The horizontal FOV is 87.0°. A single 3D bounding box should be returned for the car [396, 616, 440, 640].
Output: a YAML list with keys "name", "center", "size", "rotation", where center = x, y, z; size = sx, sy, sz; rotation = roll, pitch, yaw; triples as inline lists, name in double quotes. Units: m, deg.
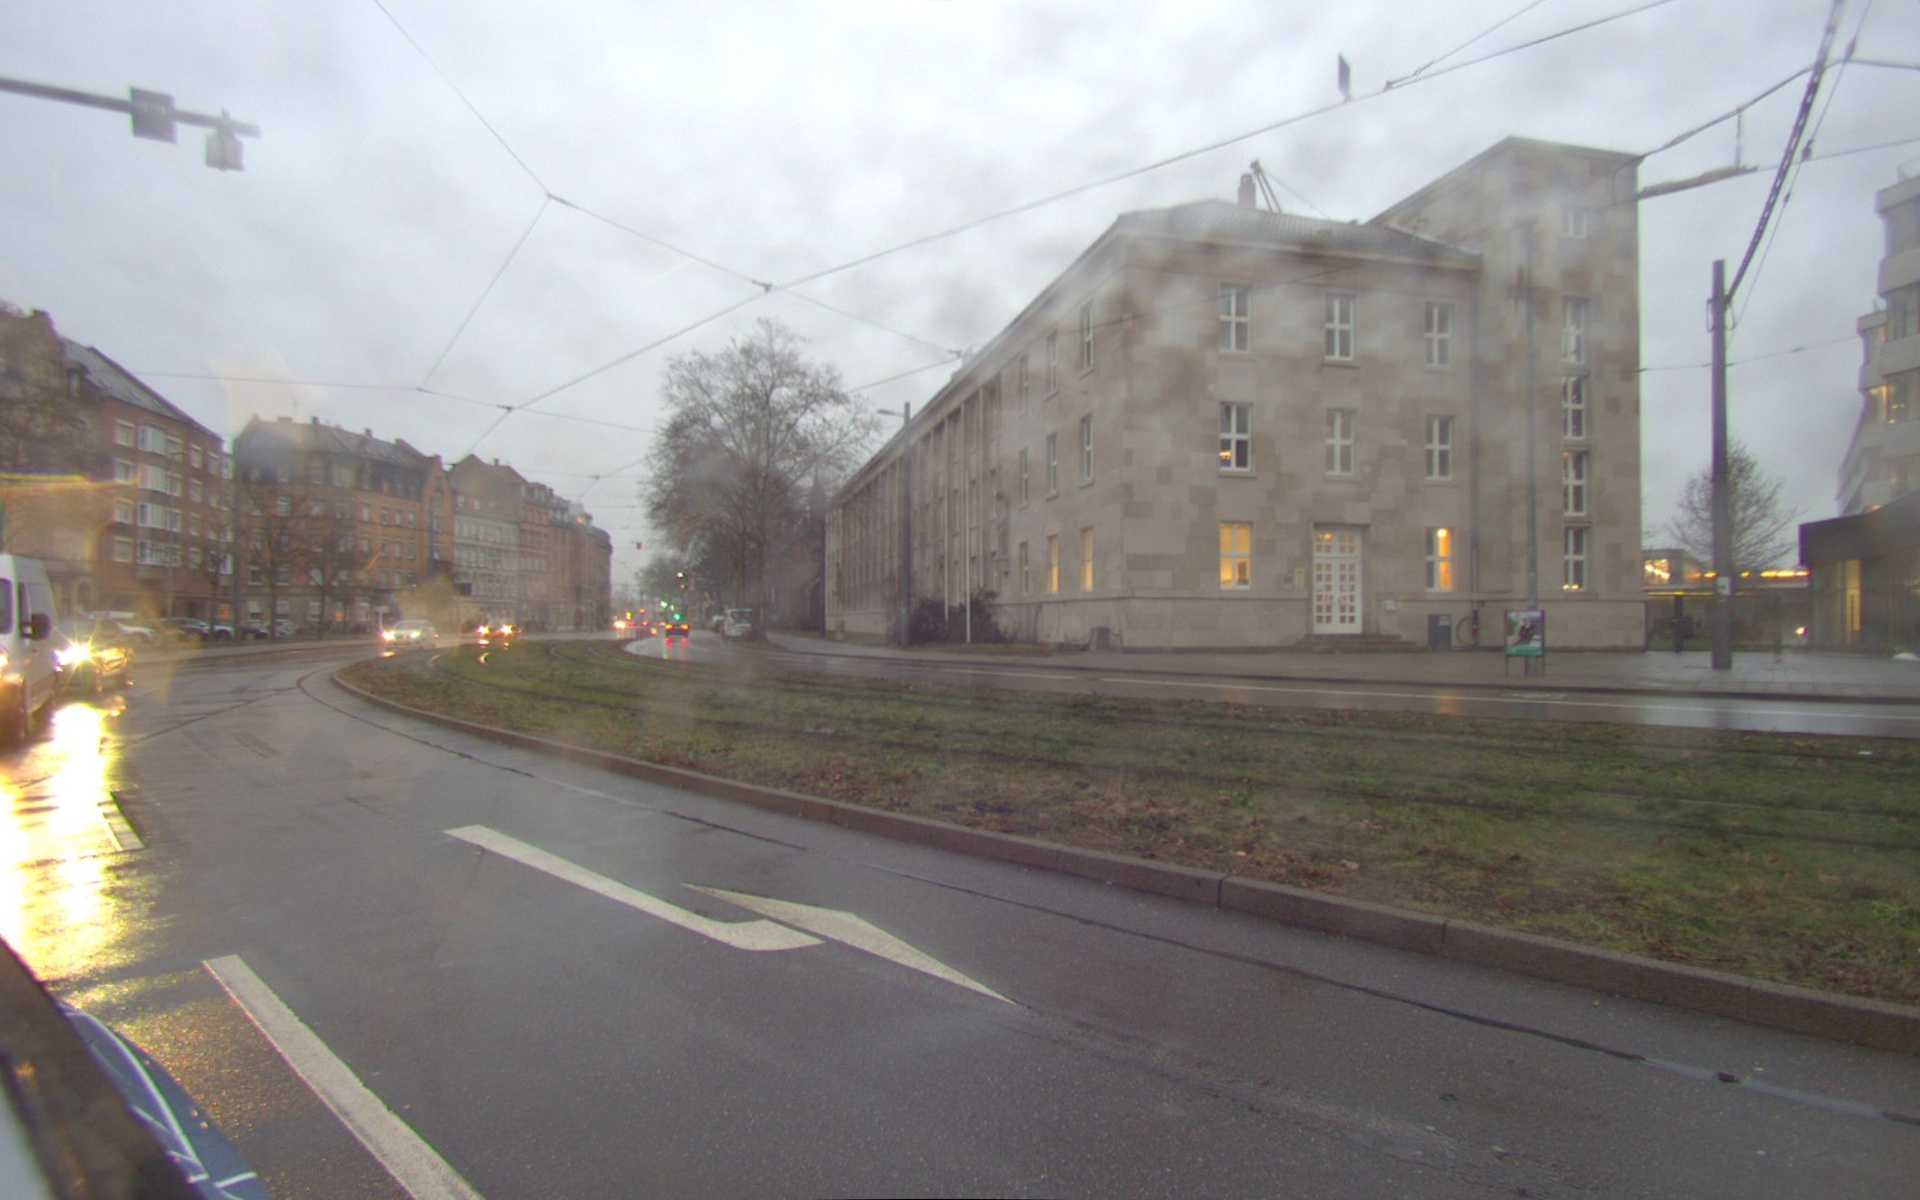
- name: "car"
  center: [-37.555, 1.916, 70.186]
  size: [1.695, 1.630, 3.948]
  rotation: [0, -2, -13]

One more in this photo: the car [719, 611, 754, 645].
- name: "car"
  center: [-14.664, 1.798, 66.271]
  size: [1.966, 2.029, 4.522]
  rotation: [-2, 0, -15]

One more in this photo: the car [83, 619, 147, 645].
- name: "car"
  center: [-53.353, 2.019, 63.957]
  size: [1.449, 1.555, 3.881]
  rotation: [0, -2, -12]

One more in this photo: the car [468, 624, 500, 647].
- name: "car"
  center: [-32.351, 2.411, 68.841]
  size: [1.809, 1.497, 3.533]
  rotation: [0, -2, -22]

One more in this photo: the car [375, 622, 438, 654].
- name: "car"
  center: [-26.549, 1.802, 48.698]
  size: [1.865, 1.424, 3.958]
  rotation: [0, -2, -17]

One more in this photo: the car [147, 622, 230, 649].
- name: "car"
  center: [-43.979, 1.995, 57.758]
  size: [3.706, 1.364, 1.605]
  rotation: [-2, 0, -39]

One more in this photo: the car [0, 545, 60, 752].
- name: "car"
  center: [-13.555, 0.627, 13.362]
  size: [2.096, 2.398, 5.650]
  rotation: [0, -1, -38]

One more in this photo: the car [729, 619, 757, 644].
- name: "car"
  center: [-13.283, 1.902, 61.910]
  size: [1.535, 1.439, 2.963]
  rotation: [0, 0, -14]

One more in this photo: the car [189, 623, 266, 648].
- name: "car"
  center: [-44.576, 2.147, 61.591]
  size: [3.706, 1.364, 1.605]
  rotation: [-2, 0, -39]
